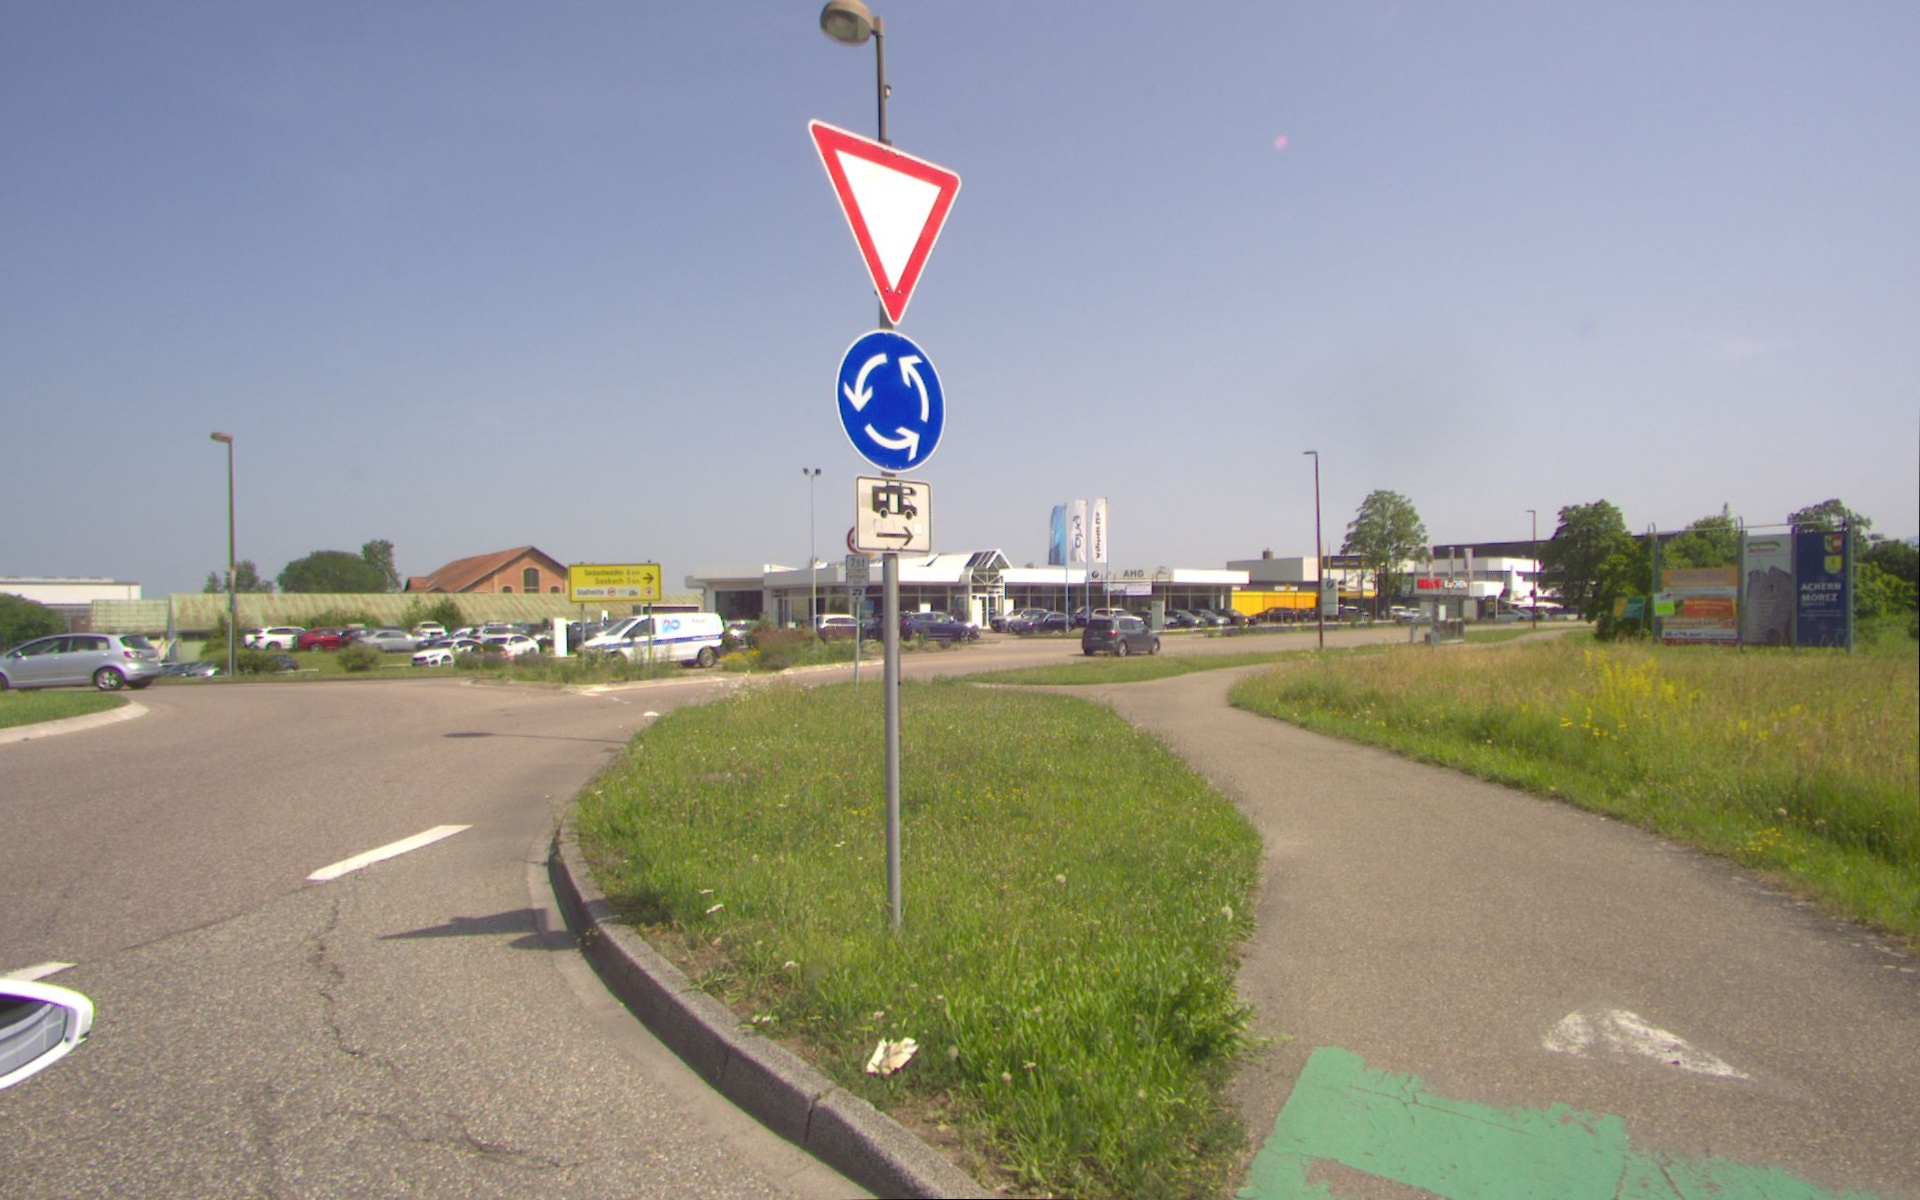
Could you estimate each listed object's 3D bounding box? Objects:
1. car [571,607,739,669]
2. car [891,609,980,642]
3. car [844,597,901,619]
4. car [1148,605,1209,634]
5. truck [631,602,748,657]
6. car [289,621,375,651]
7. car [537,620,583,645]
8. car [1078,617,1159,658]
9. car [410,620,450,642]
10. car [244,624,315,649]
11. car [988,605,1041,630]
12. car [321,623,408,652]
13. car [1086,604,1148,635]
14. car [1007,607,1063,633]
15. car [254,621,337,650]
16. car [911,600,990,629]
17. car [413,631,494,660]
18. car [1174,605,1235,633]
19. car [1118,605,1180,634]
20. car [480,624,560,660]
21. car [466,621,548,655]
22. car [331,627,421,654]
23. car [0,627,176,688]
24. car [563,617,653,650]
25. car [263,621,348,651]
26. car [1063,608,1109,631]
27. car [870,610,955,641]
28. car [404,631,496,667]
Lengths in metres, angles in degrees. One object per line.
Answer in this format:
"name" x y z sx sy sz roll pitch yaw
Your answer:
"car" -10.369 1.290 34.252 5.167 1.962 1.848 1 -3 -37
"car" -1.258 1.292 51.108 4.293 1.532 1.908 -1 0 -10
"car" -6.709 0.641 77.340 3.991 1.607 1.896 -1 0 -37
"car" 16.629 1.495 76.221 1.977 2.039 4.230 1 -3 -38
"truck" -14.114 1.502 52.492 5.558 2.700 1.935 -1 0 -37
"car" -40.319 2.284 64.340 4.421 1.770 1.932 -1 -1 -43
"car" -27.403 2.192 68.685 1.626 1.607 4.268 -1 0 -4
"car" 6.579 1.520 41.346 1.750 1.503 4.016 -1 0 34
"car" -41.093 2.385 77.609 1.901 1.617 4.269 -1 -1 -40
"car" -46.579 2.458 68.575 3.847 1.552 1.752 -1 -1 -43
"car" 3.831 1.260 70.211 3.657 1.675 1.569 1 -3 -40
"car" -37.555 2.355 63.208 4.421 1.656 1.932 -1 -1 -43
"car" 11.392 1.436 72.753 1.977 2.039 4.230 1 -3 -38
"car" 5.067 1.357 67.509 3.657 1.675 1.569 1 -3 -40
"car" -44.533 2.394 67.186 4.421 1.770 1.822 -1 -1 -43
"car" -0.575 0.833 57.547 4.293 1.532 1.908 -1 0 -10
"car" -29.777 2.632 58.853 3.959 1.546 1.936 -1 0 -37
"car" 19.054 1.537 78.134 1.977 2.039 4.230 1 -3 -38
"car" 14.081 1.475 74.716 1.977 2.039 4.230 1 -3 -38
"car" -23.786 2.236 54.313 1.734 1.592 4.661 -2 2 8
"car" -26.588 2.209 58.811 3.966 1.773 1.932 -3 1 -43
"car" -35.807 2.456 61.465 4.421 1.519 1.932 -1 0 -43
"car" -24.175 1.560 27.399 4.024 1.549 1.778 0 -3 -28
"car" -19.939 1.873 56.846 4.379 1.519 1.932 -4 0 -43
"car" -42.765 2.331 65.466 4.421 1.770 1.822 -1 -1 -43
"car" 9.968 1.553 79.017 3.657 1.675 1.569 1 -3 -40
"car" -2.547 1.332 53.052 4.293 1.532 1.908 -1 0 -10
"car" -26.811 2.544 52.852 1.736 1.591 4.573 -3 0 14
